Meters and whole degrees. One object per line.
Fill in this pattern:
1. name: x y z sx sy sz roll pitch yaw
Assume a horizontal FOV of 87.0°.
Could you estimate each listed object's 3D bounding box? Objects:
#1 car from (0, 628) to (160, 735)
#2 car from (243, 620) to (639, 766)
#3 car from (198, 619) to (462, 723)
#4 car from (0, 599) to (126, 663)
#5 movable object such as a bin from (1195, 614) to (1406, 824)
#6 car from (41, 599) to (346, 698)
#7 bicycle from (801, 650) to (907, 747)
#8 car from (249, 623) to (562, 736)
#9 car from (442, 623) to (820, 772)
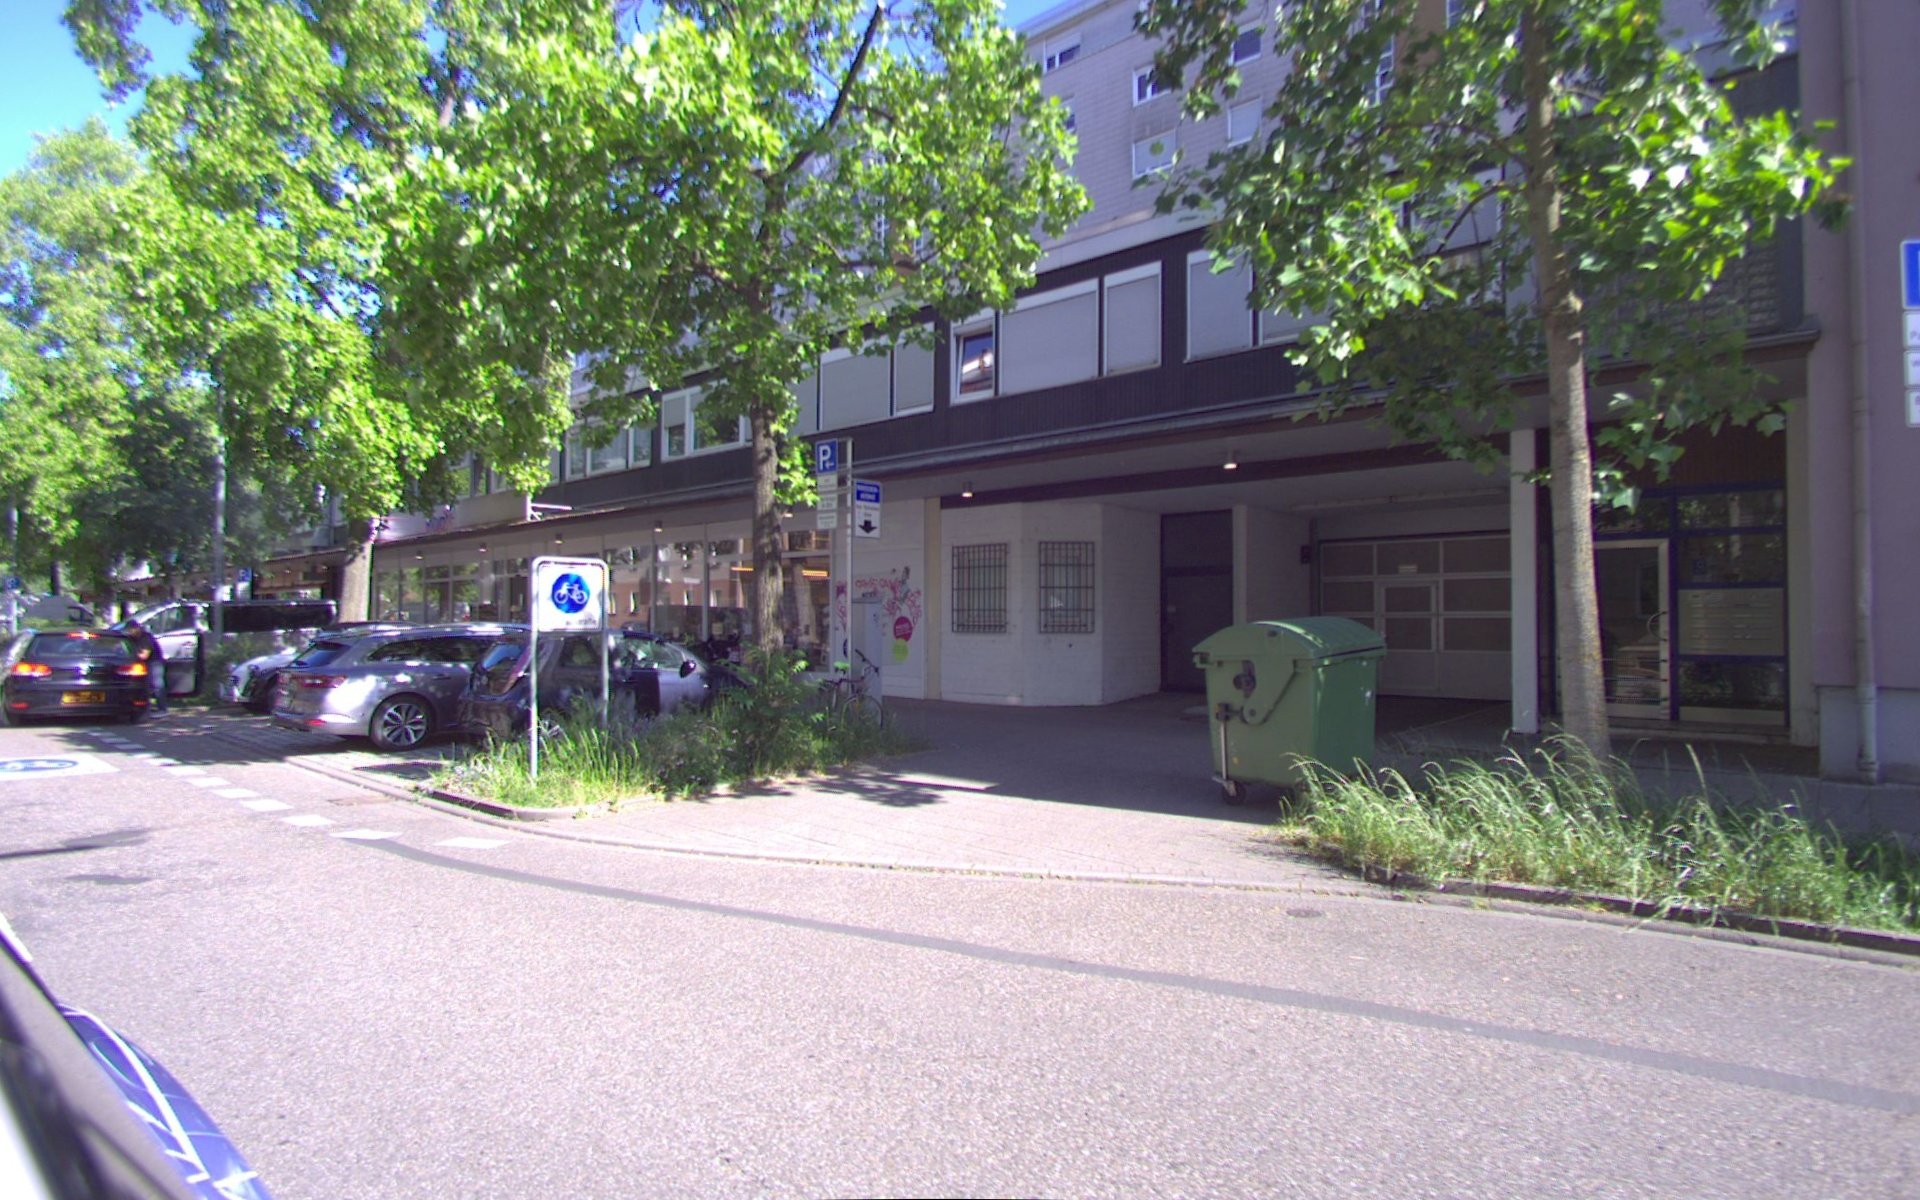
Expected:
1. car: -14.068 1.183 15.836 3.959 1.449 1.744 -1 -3 42
2. car: -6.599 1.062 13.217 1.762 1.471 4.257 -1 0 43
3. car: -10.883 1.144 17.712 1.678 1.564 3.572 -1 -1 31
4. car: -37.821 1.230 40.653 1.985 2.493 6.559 -1 -1 20
5. movable object such as a bin: 2.637 0.844 7.847 1.215 1.461 1.077 1 -2 -41
6. car: -17.192 0.983 22.962 2.014 1.989 5.237 -1 -1 41
7. bicycle: -1.301 1.161 12.267 1.342 1.086 0.461 -1 -2 39
8. car: -8.556 1.130 15.907 1.809 1.474 3.951 -1 -1 36
9. car: -3.913 1.062 12.647 1.643 1.444 4.260 -1 -1 41
